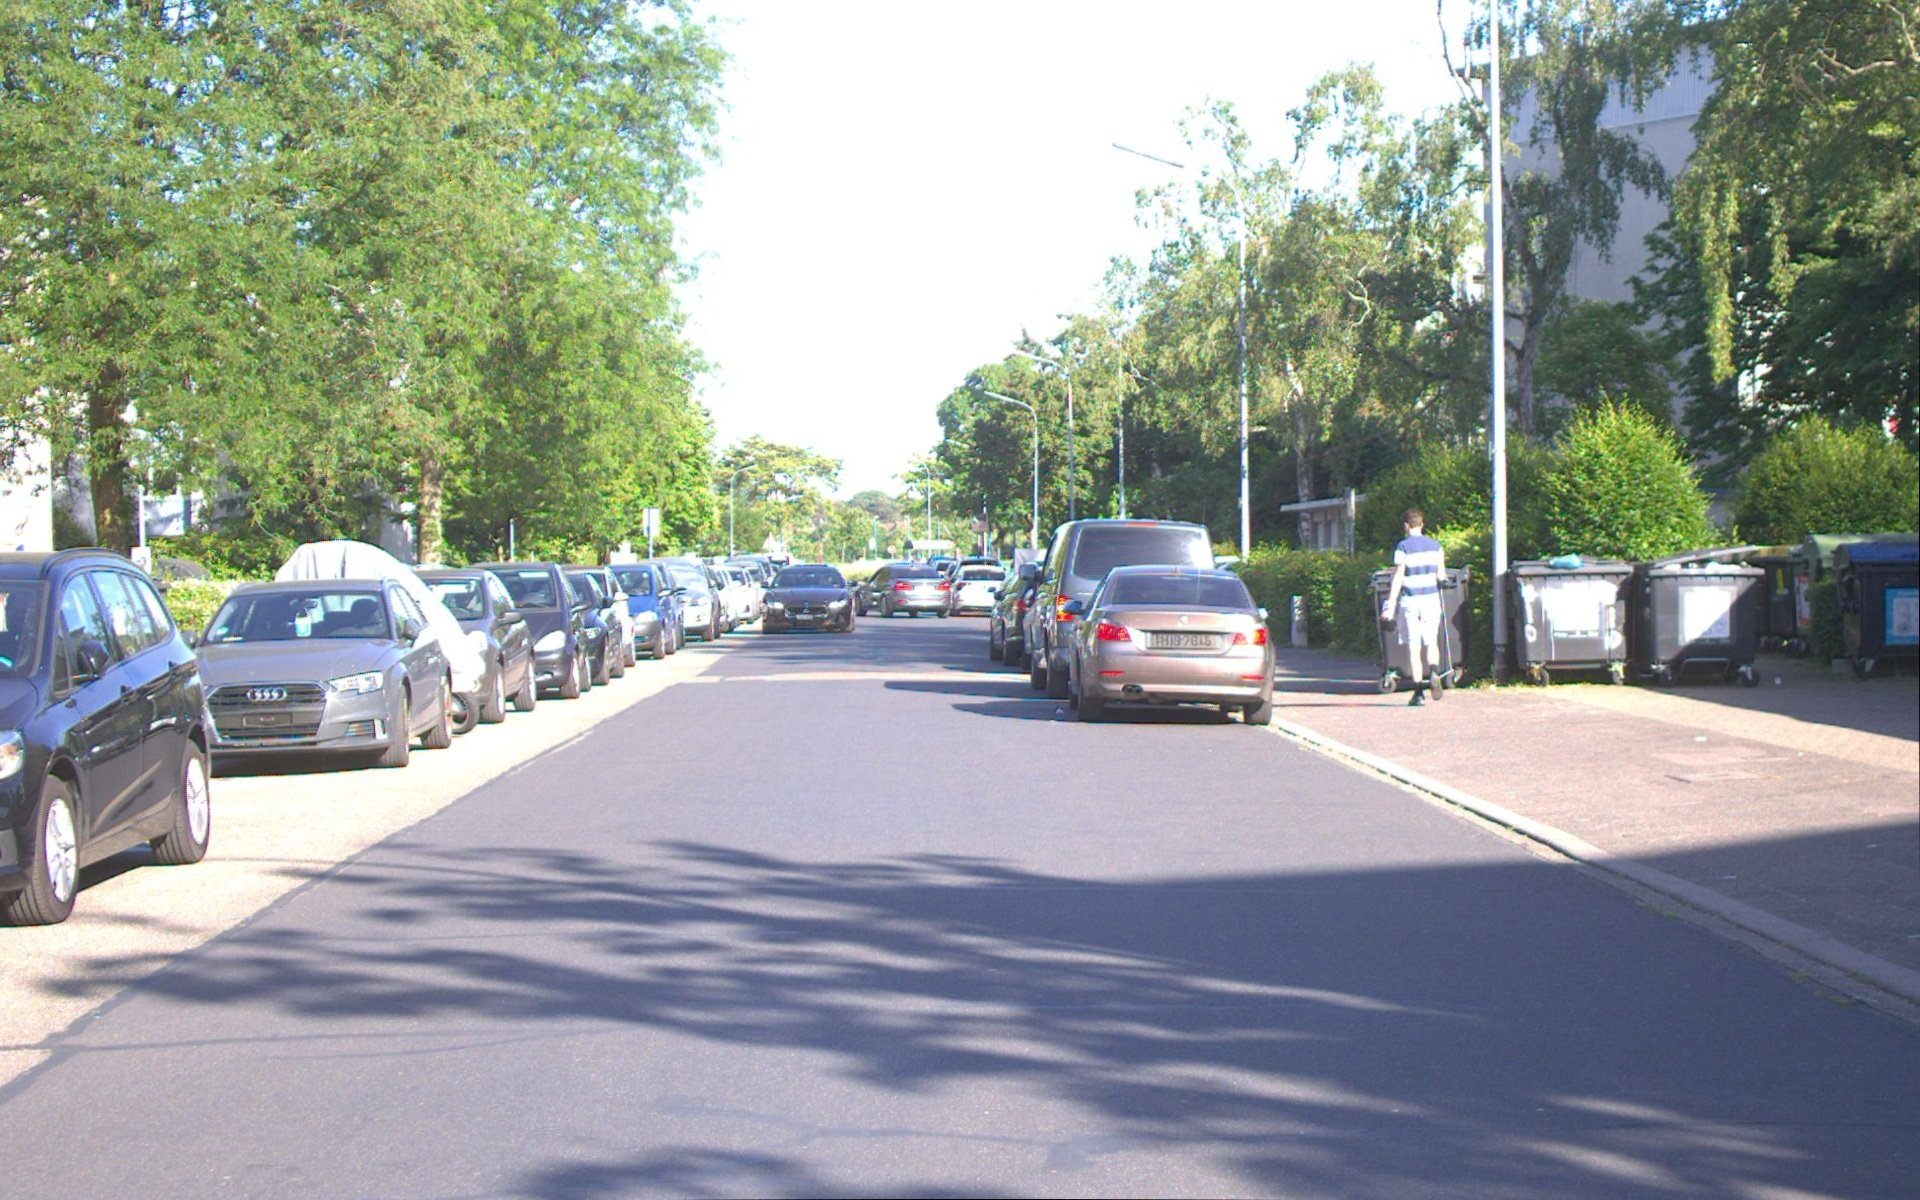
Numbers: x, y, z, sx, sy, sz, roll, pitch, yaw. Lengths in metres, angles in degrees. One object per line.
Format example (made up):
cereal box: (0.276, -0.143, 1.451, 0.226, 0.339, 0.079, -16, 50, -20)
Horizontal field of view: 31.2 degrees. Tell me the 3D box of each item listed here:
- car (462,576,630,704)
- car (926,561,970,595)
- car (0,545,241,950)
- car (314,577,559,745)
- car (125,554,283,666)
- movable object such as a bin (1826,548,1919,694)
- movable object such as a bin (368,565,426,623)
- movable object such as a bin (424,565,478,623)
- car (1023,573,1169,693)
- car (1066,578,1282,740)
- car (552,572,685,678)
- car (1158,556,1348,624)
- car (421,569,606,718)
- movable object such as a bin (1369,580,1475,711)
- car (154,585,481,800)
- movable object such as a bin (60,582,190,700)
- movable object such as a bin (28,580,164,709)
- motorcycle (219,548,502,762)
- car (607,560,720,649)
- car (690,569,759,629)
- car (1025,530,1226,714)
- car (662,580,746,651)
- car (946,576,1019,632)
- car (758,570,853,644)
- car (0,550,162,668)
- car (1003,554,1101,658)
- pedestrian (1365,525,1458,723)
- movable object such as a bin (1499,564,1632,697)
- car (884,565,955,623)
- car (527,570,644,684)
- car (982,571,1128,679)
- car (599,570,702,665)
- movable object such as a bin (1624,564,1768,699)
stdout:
car: (-5.319, 0.482, 44.639, 1.754, 1.476, 4.538, -3, 1, -2)
car: (-0.557, -1.020, 159.145, 1.795, 1.556, 3.952, 0, 1, -3)
car: (-4.686, 0.610, 16.070, 1.754, 1.630, 4.371, -3, 1, -1)
car: (-5.143, 0.560, 34.254, 1.754, 1.476, 3.959, -3, 1, 0)
car: (-10.779, 0.116, 49.235, 1.570, 1.520, 4.001, 0, 1, -3)
movable object such as a bin: (10.008, 0.211, 36.686, 1.276, 1.461, 1.133, -1, 4, 2)
movable object such as a bin: (-14.203, -0.161, 86.757, 1.177, 1.416, 1.462, 2, 1, 1)
movable object such as a bin: (-12.923, -0.158, 87.353, 1.134, 1.416, 1.361, 2, 1, 0)
car: (1.759, 0.401, 45.605, 1.623, 1.485, 4.036, 1, 1, -2)
car: (1.980, 0.515, 33.025, 1.801, 1.414, 4.636, 0, 1, 0)
car: (-5.600, 0.381, 56.773, 1.754, 1.600, 3.969, -3, 1, 0)
car: (7.134, -0.256, 84.015, 4.415, 1.508, 1.829, -2, 1, 0)
car: (-5.137, 0.463, 39.921, 1.754, 1.569, 3.720, -3, 1, -3)
movable object such as a bin: (4.999, 0.480, 37.125, 1.026, 1.305, 1.386, -4, 0, 9)
car: (-4.872, 0.647, 26.606, 1.754, 1.416, 4.269, -3, 1, -1)
movable object such as a bin: (-9.667, 0.459, 39.850, 1.177, 1.335, 1.343, 0, 1, 0)
movable object such as a bin: (-9.617, 0.483, 38.321, 1.177, 1.403, 1.343, 0, 1, 0)
motorcycle: (-5.204, 0.465, 29.974, 2.255, 1.721, 0.932, -3, 1, -4)
car: (-5.795, 0.065, 67.608, 1.903, 1.634, 4.349, -2, 1, -1)
car: (-6.142, -0.051, 89.953, 1.686, 1.500, 3.818, -1, 1, -3)
car: (1.795, 0.207, 38.759, 1.852, 1.928, 4.705, 1, 1, -2)
car: (-5.804, 0.334, 77.800, 1.662, 1.508, 3.539, -2, 1, -7)
car: (0.620, 0.099, 96.734, 1.753, 1.508, 4.105, 1, 1, -4)
car: (-3.257, 0.119, 73.348, 1.910, 1.471, 4.571, -1, 1, -2)
car: (-12.746, 0.101, 49.967, 1.570, 1.635, 4.001, 0, 1, -3)
car: (1.547, 0.085, 58.540, 1.488, 1.712, 2.583, 1, 1, -2)
pedestrian: (4.414, 0.225, 33.664, 0.703, 1.882, 0.872, -3, 0, 0)
movable object such as a bin: (6.352, 0.307, 36.154, 1.224, 1.360, 1.133, -1, 0, 2)
car: (-1.125, -0.191, 93.640, 1.679, 1.508, 4.105, 1, 1, -4)
car: (-5.556, 0.373, 51.245, 1.444, 1.569, 3.142, -3, 1, -2)
car: (1.372, 0.338, 51.315, 1.731, 1.485, 4.502, -2, 1, -4)
car: (-5.546, 0.286, 61.896, 1.635, 1.600, 3.535, -2, 1, -2)
movable object such as a bin: (7.649, 0.319, 35.780, 1.276, 1.360, 1.133, -1, 0, 2)
